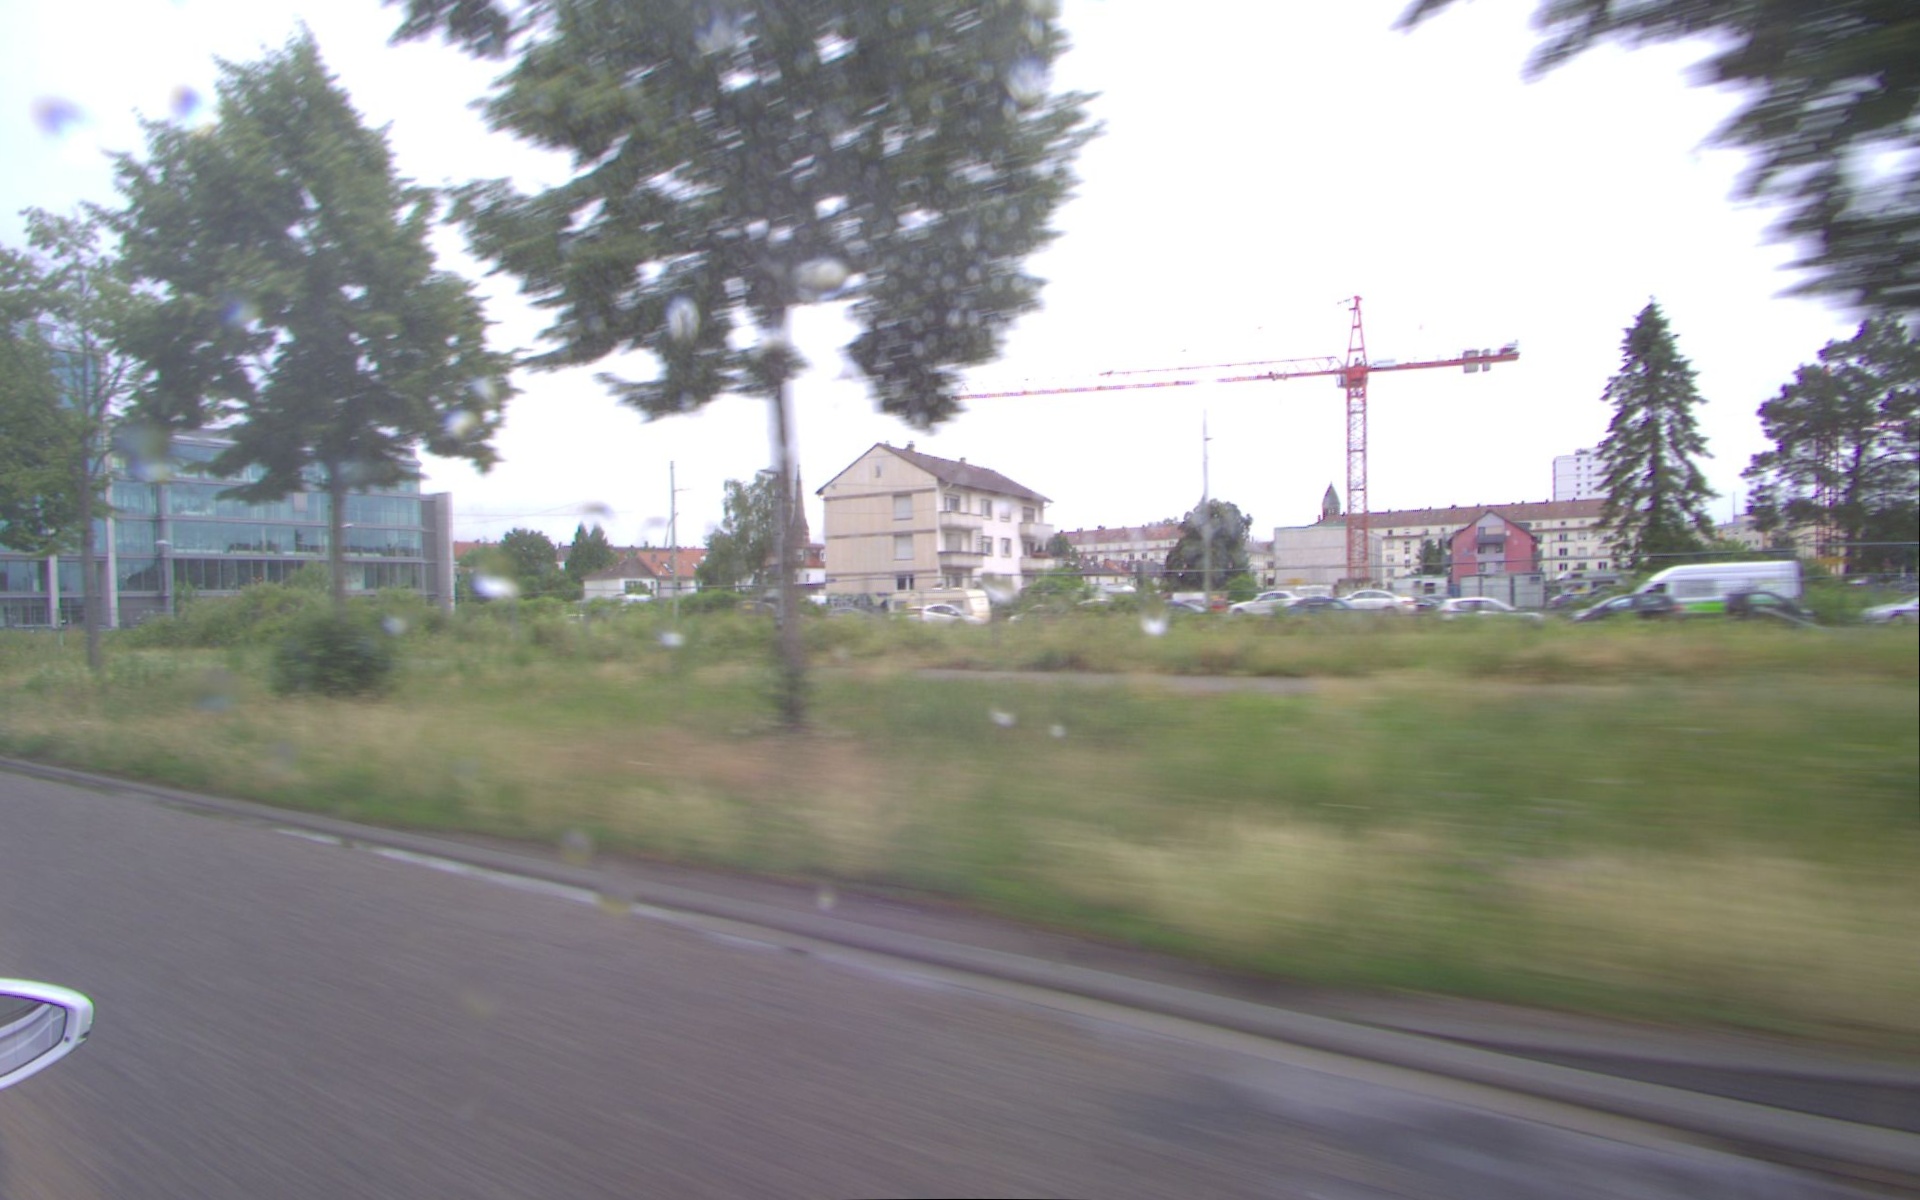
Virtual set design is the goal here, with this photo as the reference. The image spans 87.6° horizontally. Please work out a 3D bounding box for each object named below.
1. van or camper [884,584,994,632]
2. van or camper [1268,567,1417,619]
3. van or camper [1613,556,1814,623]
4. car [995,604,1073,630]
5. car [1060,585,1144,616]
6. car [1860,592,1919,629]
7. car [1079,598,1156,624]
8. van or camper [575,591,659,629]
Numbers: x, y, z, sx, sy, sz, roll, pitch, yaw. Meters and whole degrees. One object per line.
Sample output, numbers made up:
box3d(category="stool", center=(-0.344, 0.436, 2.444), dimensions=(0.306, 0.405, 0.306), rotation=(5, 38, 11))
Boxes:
box3d(category="van or camper", center=(-1.288, 0.502, 60.425), dimensions=(6.301, 2.725, 2.305), rotation=(-1, 0, 30))
box3d(category="van or camper", center=(18.752, -0.275, 49.176), dimensions=(6.548, 2.337, 2.500), rotation=(-1, -2, 30))
box3d(category="van or camper", center=(30.949, -0.355, 41.507), dimensions=(6.323, 2.569, 2.773), rotation=(-1, 0, 30))
box3d(category="car", center=(4.087, 0.935, 55.611), dimensions=(3.976, 1.370, 1.692), rotation=(-1, 0, 33))
box3d(category="car", center=(9.490, 0.029, 67.033), dimensions=(5.126, 1.919, 2.160), rotation=(-1, 0, 29))
box3d(category="car", center=(37.534, 0.388, 38.010), dimensions=(4.687, 1.370, 1.840), rotation=(-1, 0, 29))
box3d(category="car", center=(8.990, 0.628, 57.232), dimensions=(3.976, 1.370, 1.692), rotation=(-1, 0, 33))
box3d(category="van or camper", center=(-28.202, 0.851, 82.285), dimensions=(6.676, 3.033, 2.902), rotation=(-1, 0, 30))
